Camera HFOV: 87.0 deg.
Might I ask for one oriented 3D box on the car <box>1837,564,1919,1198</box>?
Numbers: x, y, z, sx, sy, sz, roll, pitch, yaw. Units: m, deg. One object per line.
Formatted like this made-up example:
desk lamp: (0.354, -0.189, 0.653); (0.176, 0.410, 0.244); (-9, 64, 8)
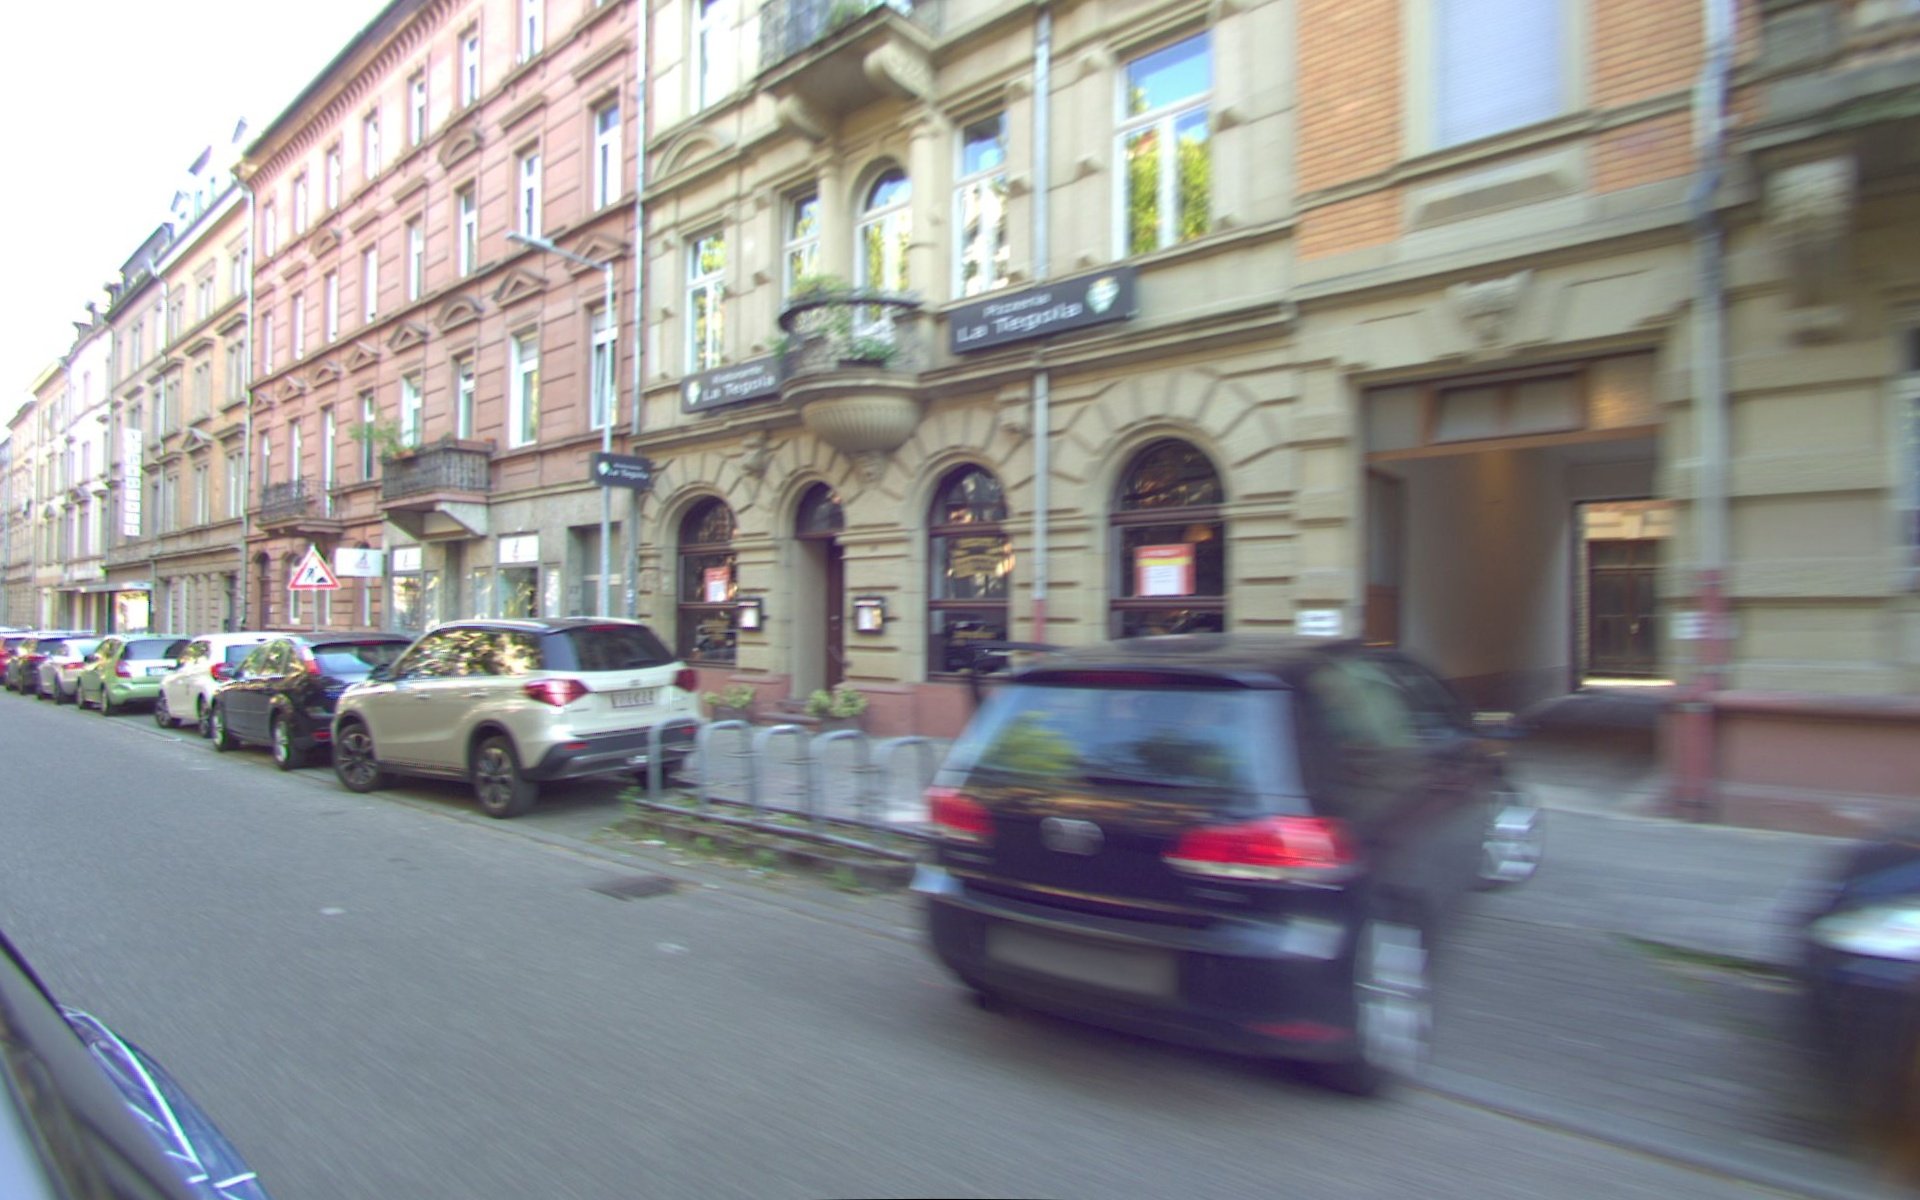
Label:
car: (4.325, 0.676, 1.982); (3.893, 1.579, 1.723); (-2, -3, 41)

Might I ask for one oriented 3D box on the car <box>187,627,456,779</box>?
car: (-7.870, 1.121, 12.331); (3.997, 1.484, 1.631); (-2, 0, 40)

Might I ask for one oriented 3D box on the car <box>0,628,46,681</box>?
car: (-31.273, 1.768, 32.899); (4.311, 1.612, 1.802); (-2, -1, 41)

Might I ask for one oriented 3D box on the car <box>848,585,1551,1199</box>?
car: (1.471, 0.817, 4.632); (1.821, 1.541, 3.953); (-1, -3, 35)

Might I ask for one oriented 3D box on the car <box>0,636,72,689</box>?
car: (-27.864, 1.802, 29.941); (4.311, 1.436, 1.802); (-2, -1, 41)

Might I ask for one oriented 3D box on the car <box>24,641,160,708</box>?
car: (-19.276, 1.578, 22.422); (4.099, 1.333, 1.687); (-2, -3, 41)

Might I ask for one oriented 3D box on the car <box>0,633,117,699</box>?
car: (-22.962, 1.610, 25.611); (4.420, 1.488, 1.802); (-2, -1, 41)

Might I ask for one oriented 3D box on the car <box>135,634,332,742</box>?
car: (-11.405, 1.272, 15.787); (3.997, 1.484, 1.565); (-2, -3, 40)

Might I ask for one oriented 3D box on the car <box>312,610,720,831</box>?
car: (-4.209, 0.947, 9.343); (4.042, 1.586, 1.633); (-2, 0, 37)

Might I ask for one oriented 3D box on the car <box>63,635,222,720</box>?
car: (-15.720, 1.403, 19.390); (3.957, 1.450, 1.687); (-2, -3, 41)

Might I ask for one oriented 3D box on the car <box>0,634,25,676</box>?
car: (-35.670, 1.999, 36.919); (4.487, 1.484, 1.842); (-2, -3, 42)
